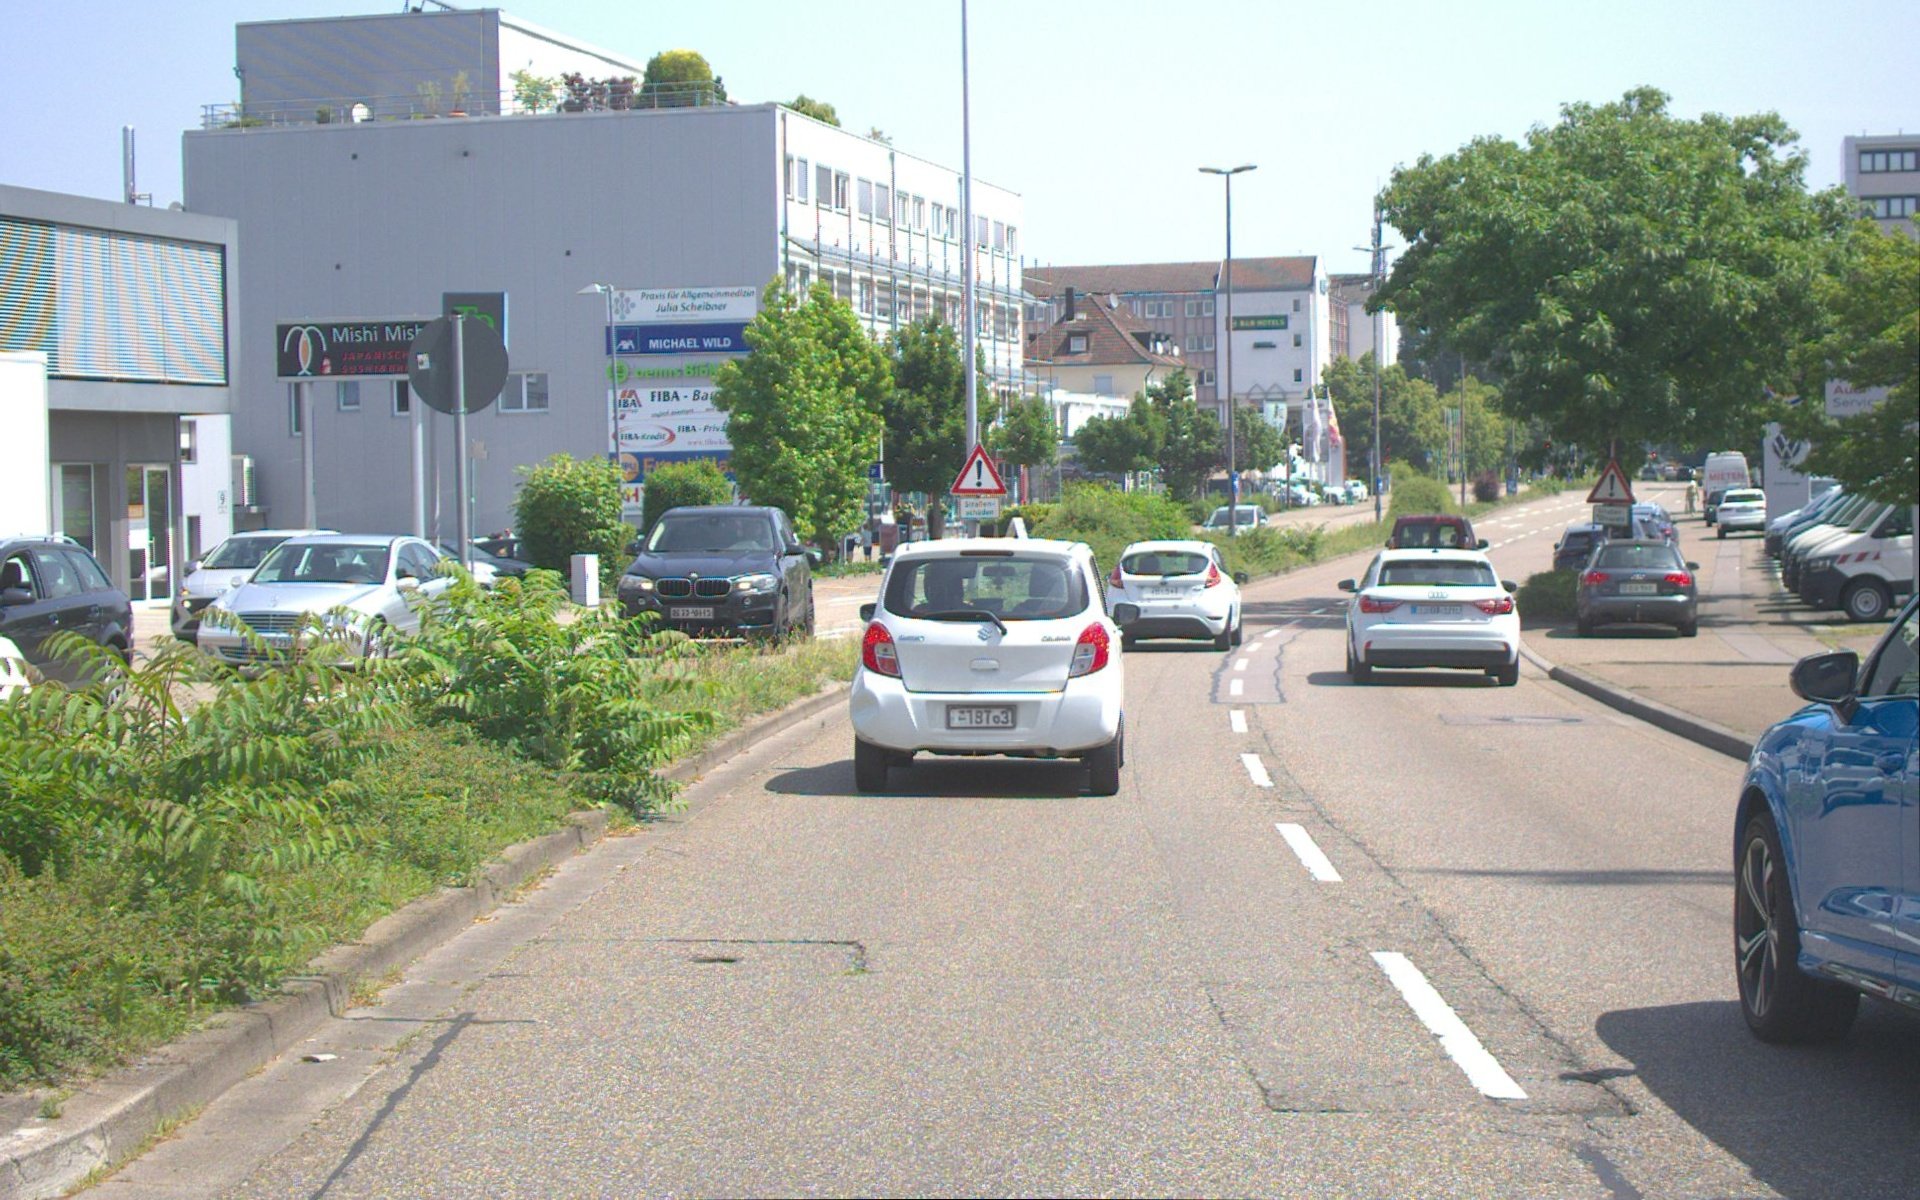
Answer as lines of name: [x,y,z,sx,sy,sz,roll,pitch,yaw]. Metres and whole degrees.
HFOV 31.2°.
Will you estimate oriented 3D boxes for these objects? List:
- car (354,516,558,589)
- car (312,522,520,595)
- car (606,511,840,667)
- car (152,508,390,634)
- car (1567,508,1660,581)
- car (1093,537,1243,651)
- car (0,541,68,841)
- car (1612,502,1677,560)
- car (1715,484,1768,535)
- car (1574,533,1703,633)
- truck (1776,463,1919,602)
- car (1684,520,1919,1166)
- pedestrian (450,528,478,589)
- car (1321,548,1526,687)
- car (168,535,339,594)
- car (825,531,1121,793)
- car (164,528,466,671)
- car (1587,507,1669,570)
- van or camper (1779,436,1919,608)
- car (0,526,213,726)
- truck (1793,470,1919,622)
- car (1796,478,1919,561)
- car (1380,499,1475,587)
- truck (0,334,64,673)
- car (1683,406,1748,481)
car: [-10.936,-1.030,74.623,3.999,1.366,1.668,-2,2,15]
car: [-11.359,-0.866,71.902,3.988,1.454,1.575,-1,0,8]
car: [-2.781,-0.140,41.437,1.909,1.745,4.758,1,0,7]
car: [-8.970,-0.395,45.113,1.898,1.561,4.197,0,1,6]
car: [15.560,-1.333,81.729,1.962,1.524,5.159,-3,2,12]
car: [2.770,-0.119,46.470,1.830,1.445,4.000,1,1,1]
car: [-5.579,0.459,15.116,1.863,1.426,4.744,1,1,3]
car: [19.396,-1.981,97.555,1.714,1.543,4.789,-1,1,11]
car: [26.224,-3.044,115.385,1.668,1.590,4.611,-1,2,12]
car: [10.201,-0.290,51.794,1.798,1.401,4.318,1,2,11]
truck: [17.519,-1.277,62.255,5.250,2.427,2.110,-2,2,14]
car: [3.325,0.593,9.011,1.913,1.591,4.396,0,1,0]
pedestrian: [-13.431,-1.118,93.128,0.546,1.651,0.625,1,0,11]
car: [4.905,0.154,36.819,1.667,1.394,3.793,0,1,0]
car: [-18.722,-0.944,91.179,3.973,1.462,1.964,-1,2,8]
car: [0.077,0.346,21.684,1.712,1.505,3.247,1,0,0]
car: [-6.453,-0.036,34.860,1.898,1.356,4.197,0,1,6]
car: [16.754,-1.577,86.381,1.855,1.476,5.155,0,2,9]
van or camper: [17.667,-1.399,59.306,6.800,2.888,2.274,-1,2,12]
car: [-7.429,0.137,27.202,1.802,1.434,4.576,1,1,3]
truck: [16.558,-0.938,54.909,6.249,2.328,2.367,-1,2,14]
car: [24.001,-2.006,85.912,5.898,2.006,2.257,1,2,16]
car: [9.487,-1.174,69.999,1.795,1.723,3.972,1,1,6]
truck: [-11.034,-0.972,32.838,2.265,3.406,7.037,1,0,8]
car: [32.148,-6.627,146.454,2.134,2.829,7.306,-7,1,11]
